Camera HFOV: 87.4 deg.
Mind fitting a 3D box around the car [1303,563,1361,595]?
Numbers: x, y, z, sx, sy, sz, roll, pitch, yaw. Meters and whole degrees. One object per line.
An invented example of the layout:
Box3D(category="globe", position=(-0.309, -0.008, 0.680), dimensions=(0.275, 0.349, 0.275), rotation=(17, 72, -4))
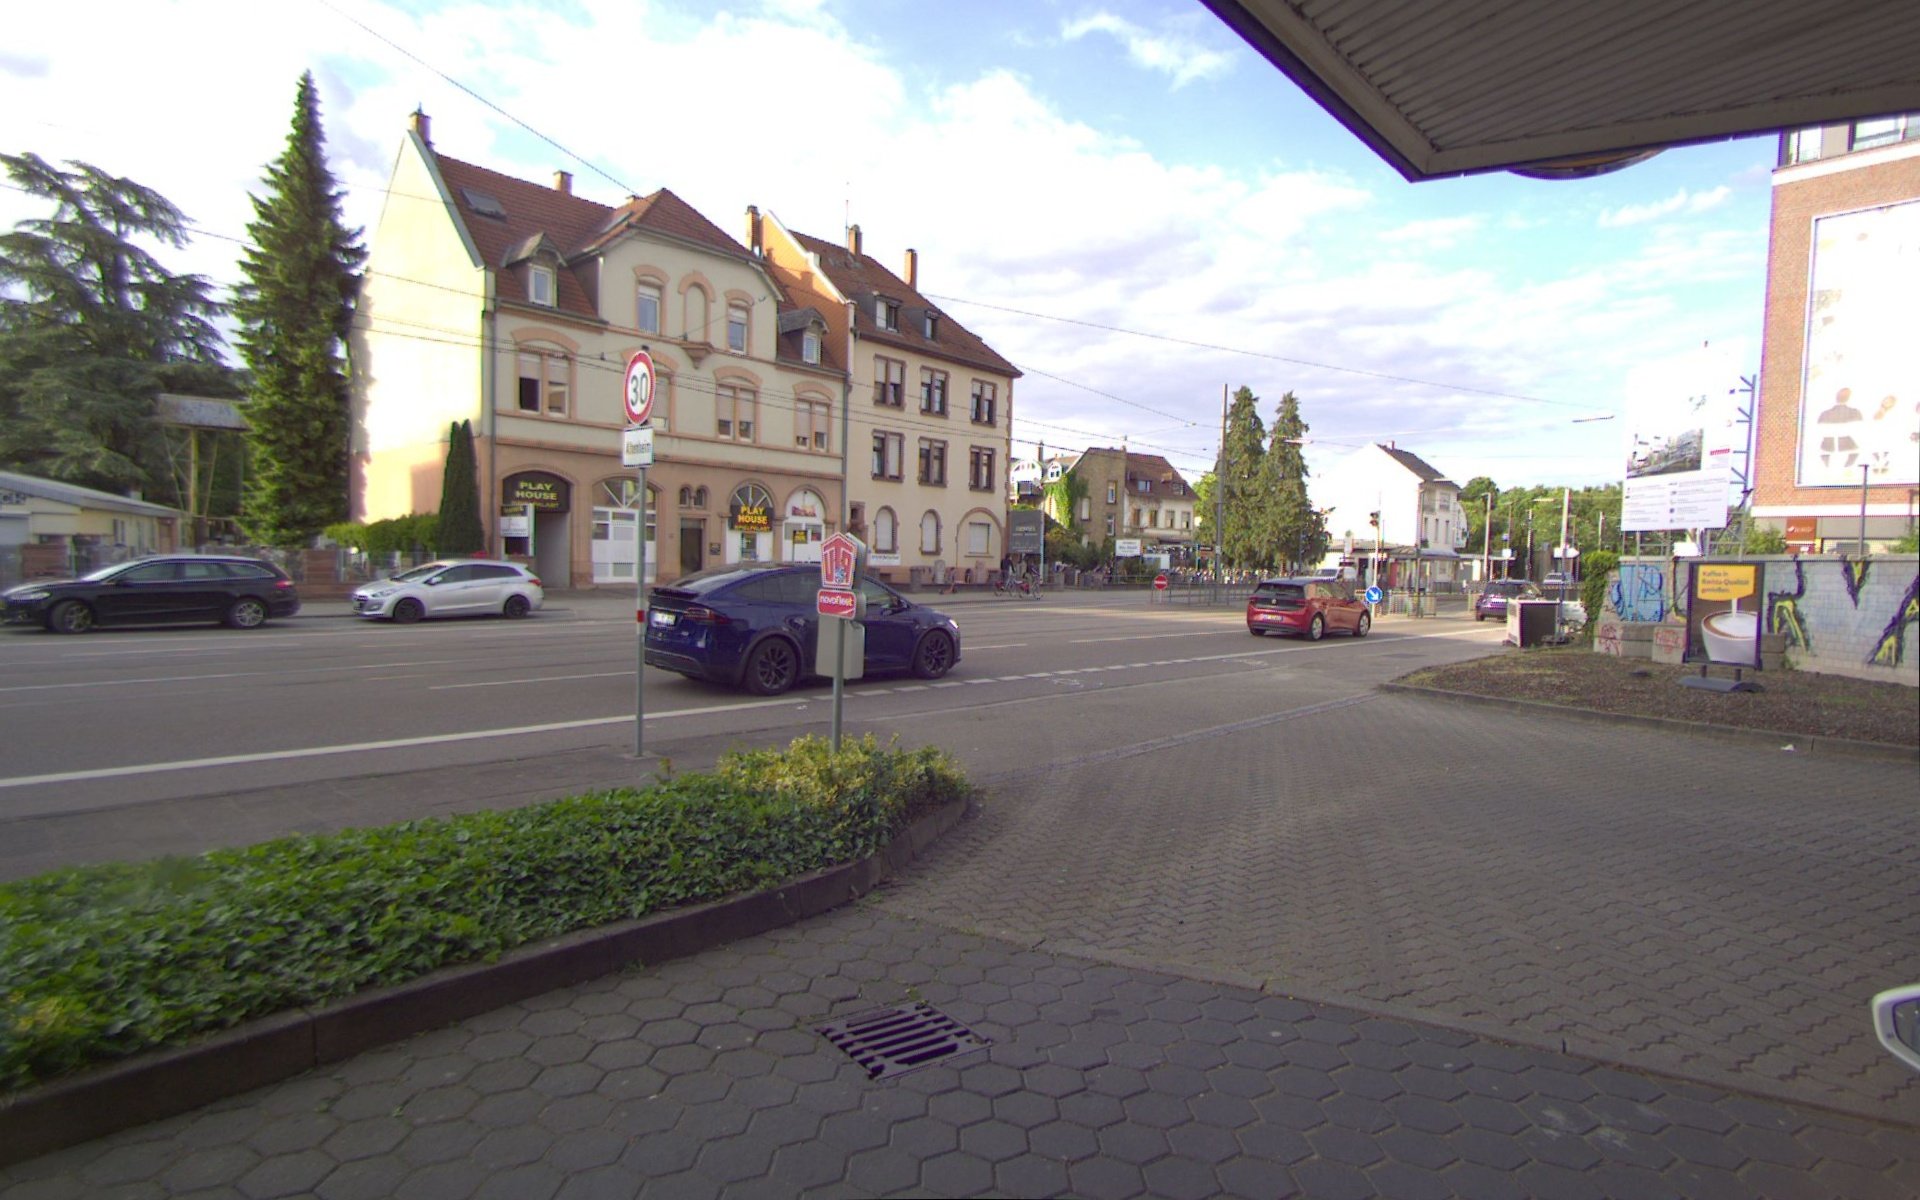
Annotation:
Box3D(category="car", position=(23.876, -1.318, 64.439), dimensions=(1.940, 1.915, 4.386), rotation=(4, 3, 42))

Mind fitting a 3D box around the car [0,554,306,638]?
Box3D(category="car", position=(-16.567, -0.146, 20.732), dimensions=(1.970, 1.516, 4.801), rotation=(3, 3, 40))

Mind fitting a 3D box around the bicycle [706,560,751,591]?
Box3D(category="bicycle", position=(-9.139, -0.955, 39.709), dimensions=(0.508, 1.189, 1.809), rotation=(4, 2, 40))

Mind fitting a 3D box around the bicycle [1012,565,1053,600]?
Box3D(category="bicycle", position=(3.386, -0.809, 46.580), dimensions=(0.777, 1.512, 1.981), rotation=(6, 5, 41))

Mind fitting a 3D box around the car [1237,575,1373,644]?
Box3D(category="car", position=(9.019, 0.196, 26.094), dimensions=(1.745, 1.564, 4.106), rotation=(5, 4, 43))

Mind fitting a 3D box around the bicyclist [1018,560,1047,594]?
Box3D(category="bicyclist", position=(3.344, -1.063, 46.495), dimensions=(0.777, 1.512, 1.090), rotation=(6, 5, 41))

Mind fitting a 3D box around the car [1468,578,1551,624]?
Box3D(category="car", position=(20.497, -0.004, 37.406), dimensions=(1.707, 1.564, 3.976), rotation=(5, 4, 43))

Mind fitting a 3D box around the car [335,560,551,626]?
Box3D(category="car", position=(-12.998, -0.245, 25.465), dimensions=(1.970, 1.495, 4.467), rotation=(3, 3, 40))

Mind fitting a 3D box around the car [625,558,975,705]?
Box3D(category="car", position=(-2.059, 0.334, 14.197), dimensions=(1.745, 1.679, 4.823), rotation=(5, 4, 42))

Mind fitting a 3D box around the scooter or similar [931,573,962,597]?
Box3D(category="scooter or similar", position=(-0.594, -0.692, 45.135), dimensions=(0.488, 1.015, 1.592), rotation=(5, 5, 39))

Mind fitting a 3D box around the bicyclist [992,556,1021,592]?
Box3D(category="bicyclist", position=(2.154, -1.192, 46.497), dimensions=(0.833, 1.579, 0.960), rotation=(8, 6, 39))

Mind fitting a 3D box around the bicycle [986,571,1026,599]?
Box3D(category="bicycle", position=(2.126, -0.717, 46.529), dimensions=(0.833, 1.219, 1.897), rotation=(8, 6, 38))

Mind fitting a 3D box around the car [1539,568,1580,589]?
Box3D(category="car", position=(60.544, -2.196, 101.375), dimensions=(4.846, 1.995, 1.977), rotation=(-1, 3, -39))
